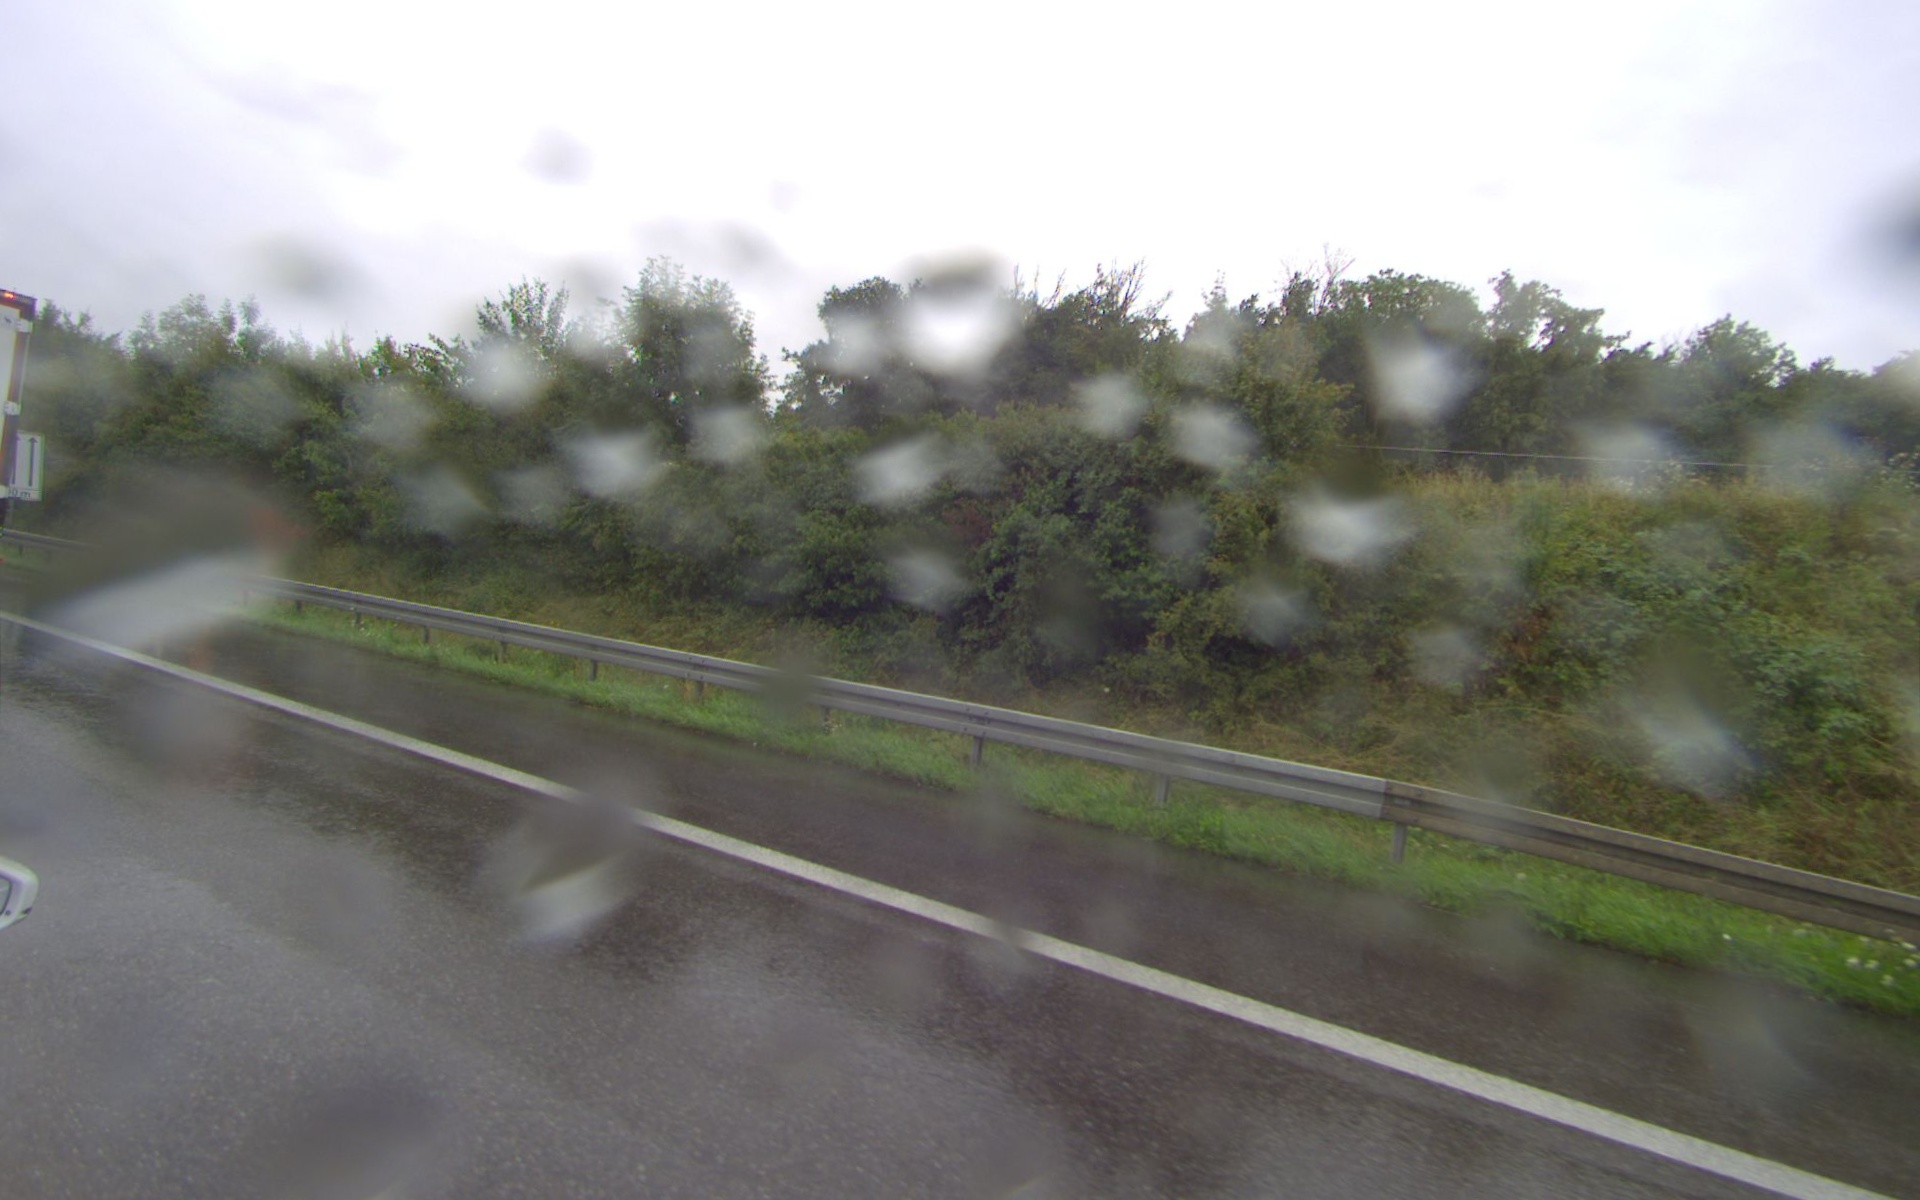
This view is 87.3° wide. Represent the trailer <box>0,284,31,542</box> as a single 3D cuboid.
[{"bbox_3d":[-18.834,-2.762,15.509,14.386,4.061,2.634,7,-1,32],"label":"trailer"}]
